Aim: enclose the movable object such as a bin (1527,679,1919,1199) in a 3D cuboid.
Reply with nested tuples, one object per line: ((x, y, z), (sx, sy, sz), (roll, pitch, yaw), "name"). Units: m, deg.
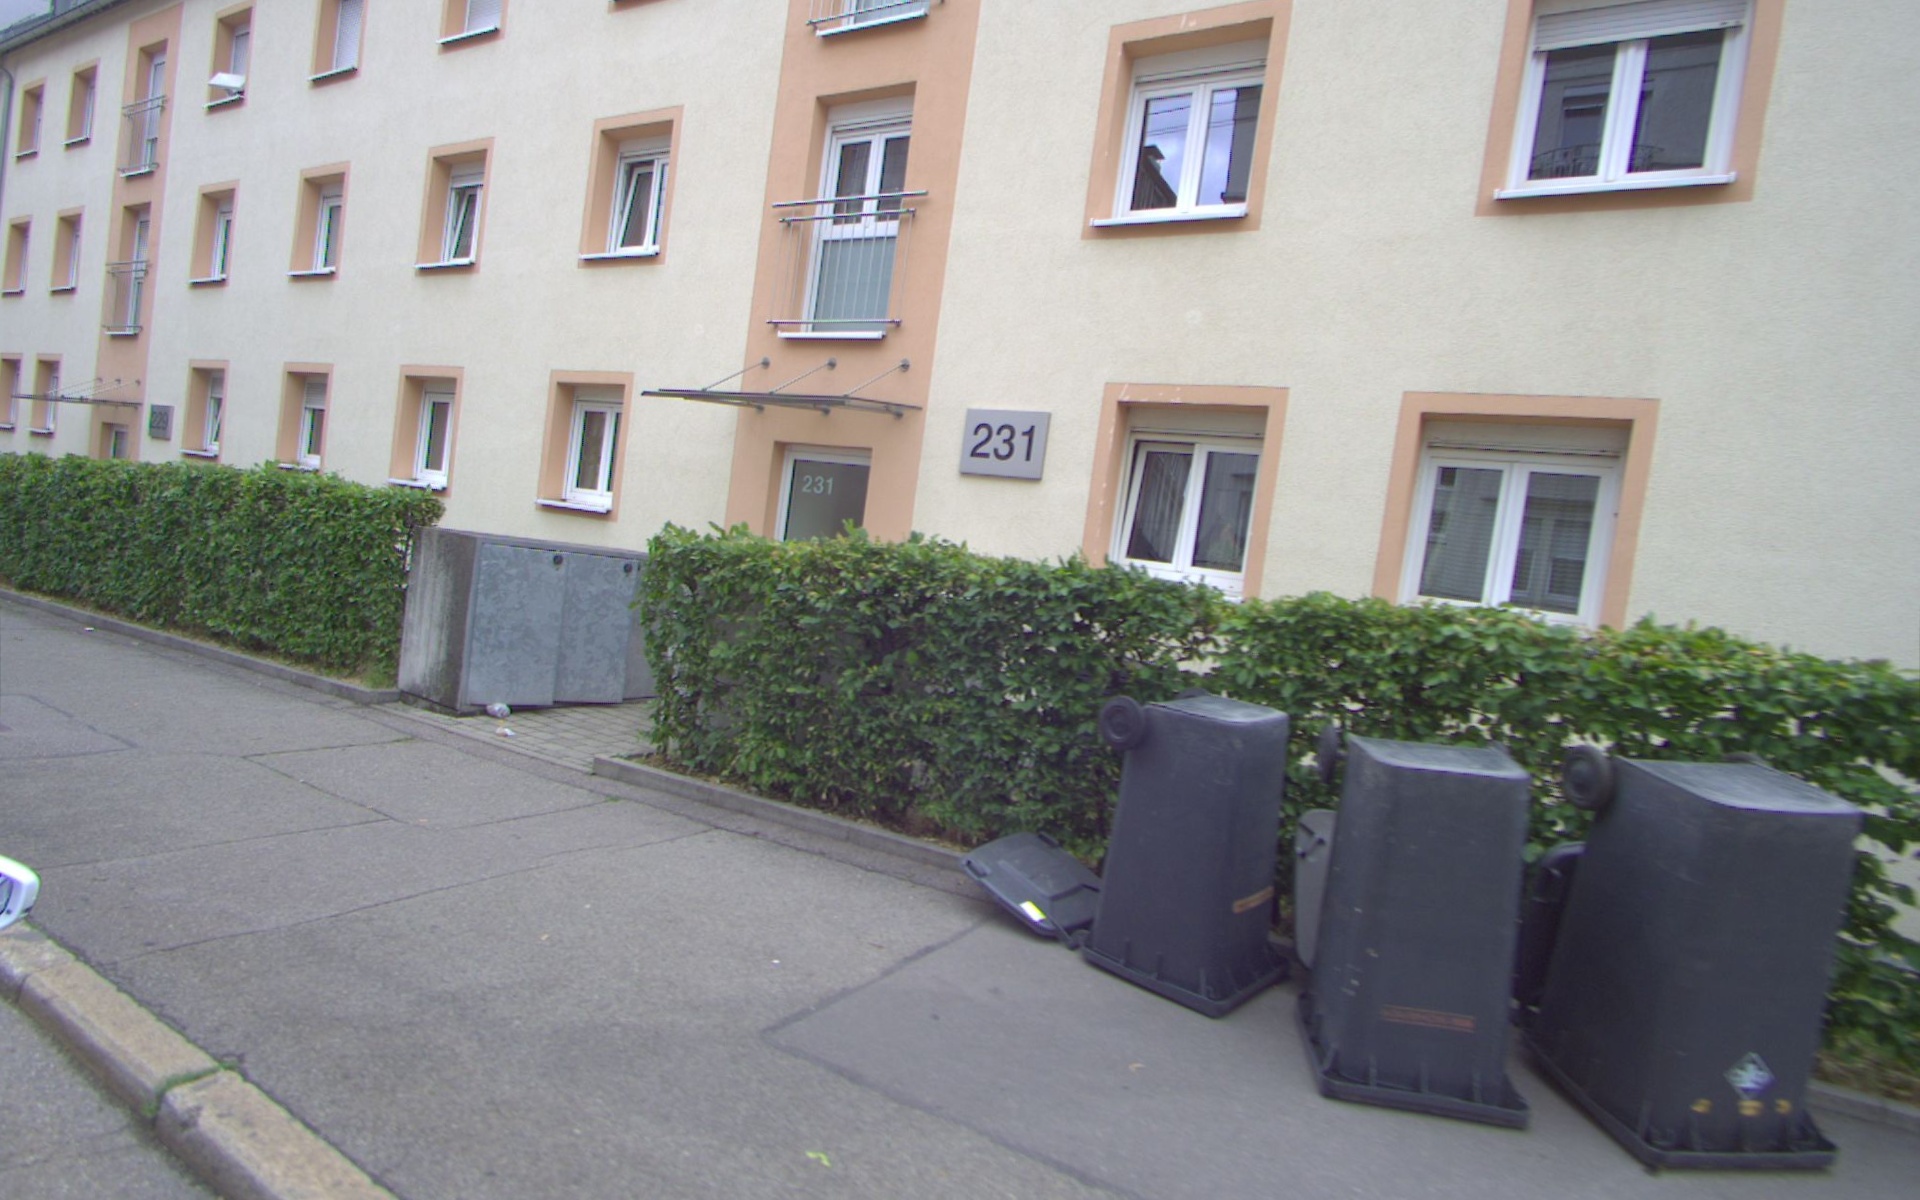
((2.153, 0.897, 2.883), (0.775, 1.234, 0.793), (6, 1, 28), "movable object such as a bin")

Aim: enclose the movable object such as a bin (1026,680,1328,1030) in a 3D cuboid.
((0.828, 0.862, 3.769), (0.776, 1.025, 0.792), (7, 1, 34), "movable object such as a bin")

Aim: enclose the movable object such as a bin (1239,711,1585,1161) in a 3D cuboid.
((1.398, 0.929, 3.134), (0.775, 1.025, 0.793), (6, 1, 28), "movable object such as a bin")
